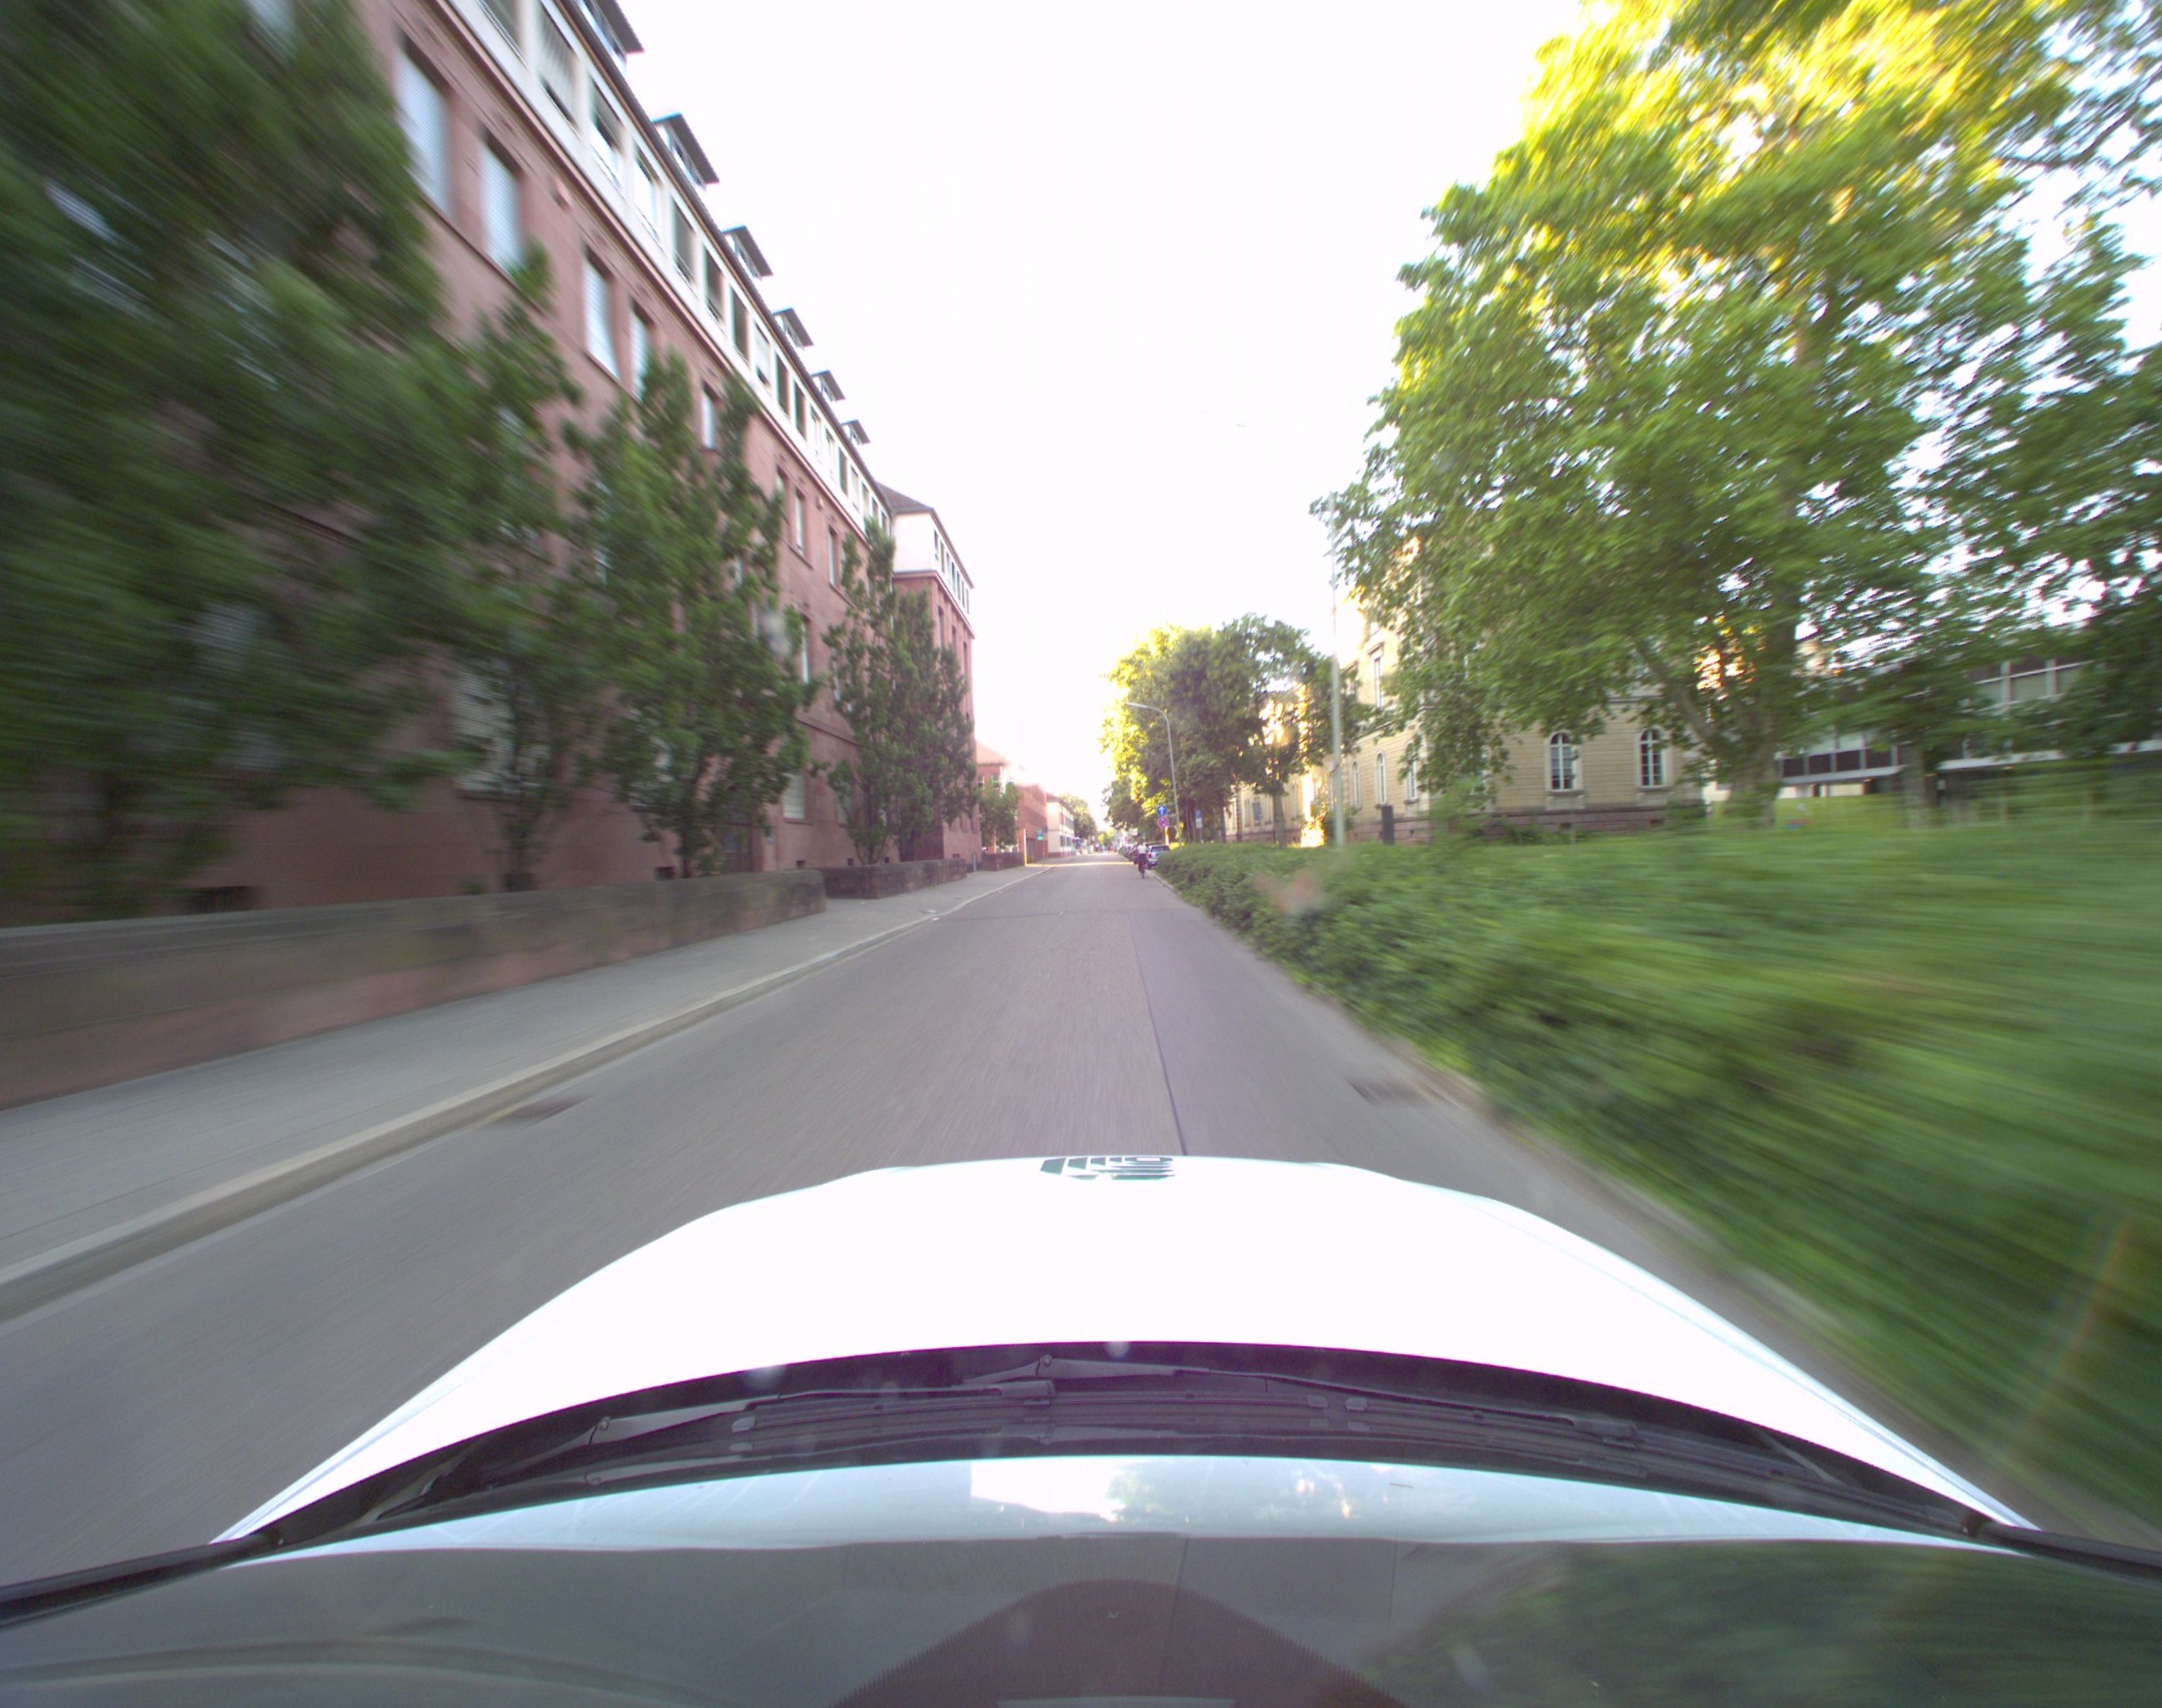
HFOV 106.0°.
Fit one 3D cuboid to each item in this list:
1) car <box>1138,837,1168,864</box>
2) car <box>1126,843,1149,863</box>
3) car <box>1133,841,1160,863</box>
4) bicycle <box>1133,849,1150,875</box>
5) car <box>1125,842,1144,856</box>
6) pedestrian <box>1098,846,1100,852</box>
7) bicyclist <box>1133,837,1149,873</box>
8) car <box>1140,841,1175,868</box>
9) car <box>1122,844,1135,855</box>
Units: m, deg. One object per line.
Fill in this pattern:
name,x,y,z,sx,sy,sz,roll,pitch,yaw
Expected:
car,4.845,-0.254,55.254,1.709,1.712,4.476,-3,1,2
car,5.460,-0.116,78.877,1.987,1.706,4.001,-3,0,1
car,5.010,-0.201,62.835,1.710,1.537,4.048,-3,1,0
bicycle,2.825,0.368,38.226,0.636,1.193,1.876,-1,0,0
car,6.567,-0.631,100.261,1.987,1.585,4.001,-3,0,1
pedestrian,4.663,-1.348,212.953,0.532,1.472,0.448,-3,0,0
bicyclist,2.820,0.029,38.276,0.637,1.667,0.842,-1,0,0
car,4.608,0.043,49.234,1.680,1.447,3.671,-5,0,0
car,7.942,-0.826,137.400,1.987,1.749,4.001,-3,0,1
